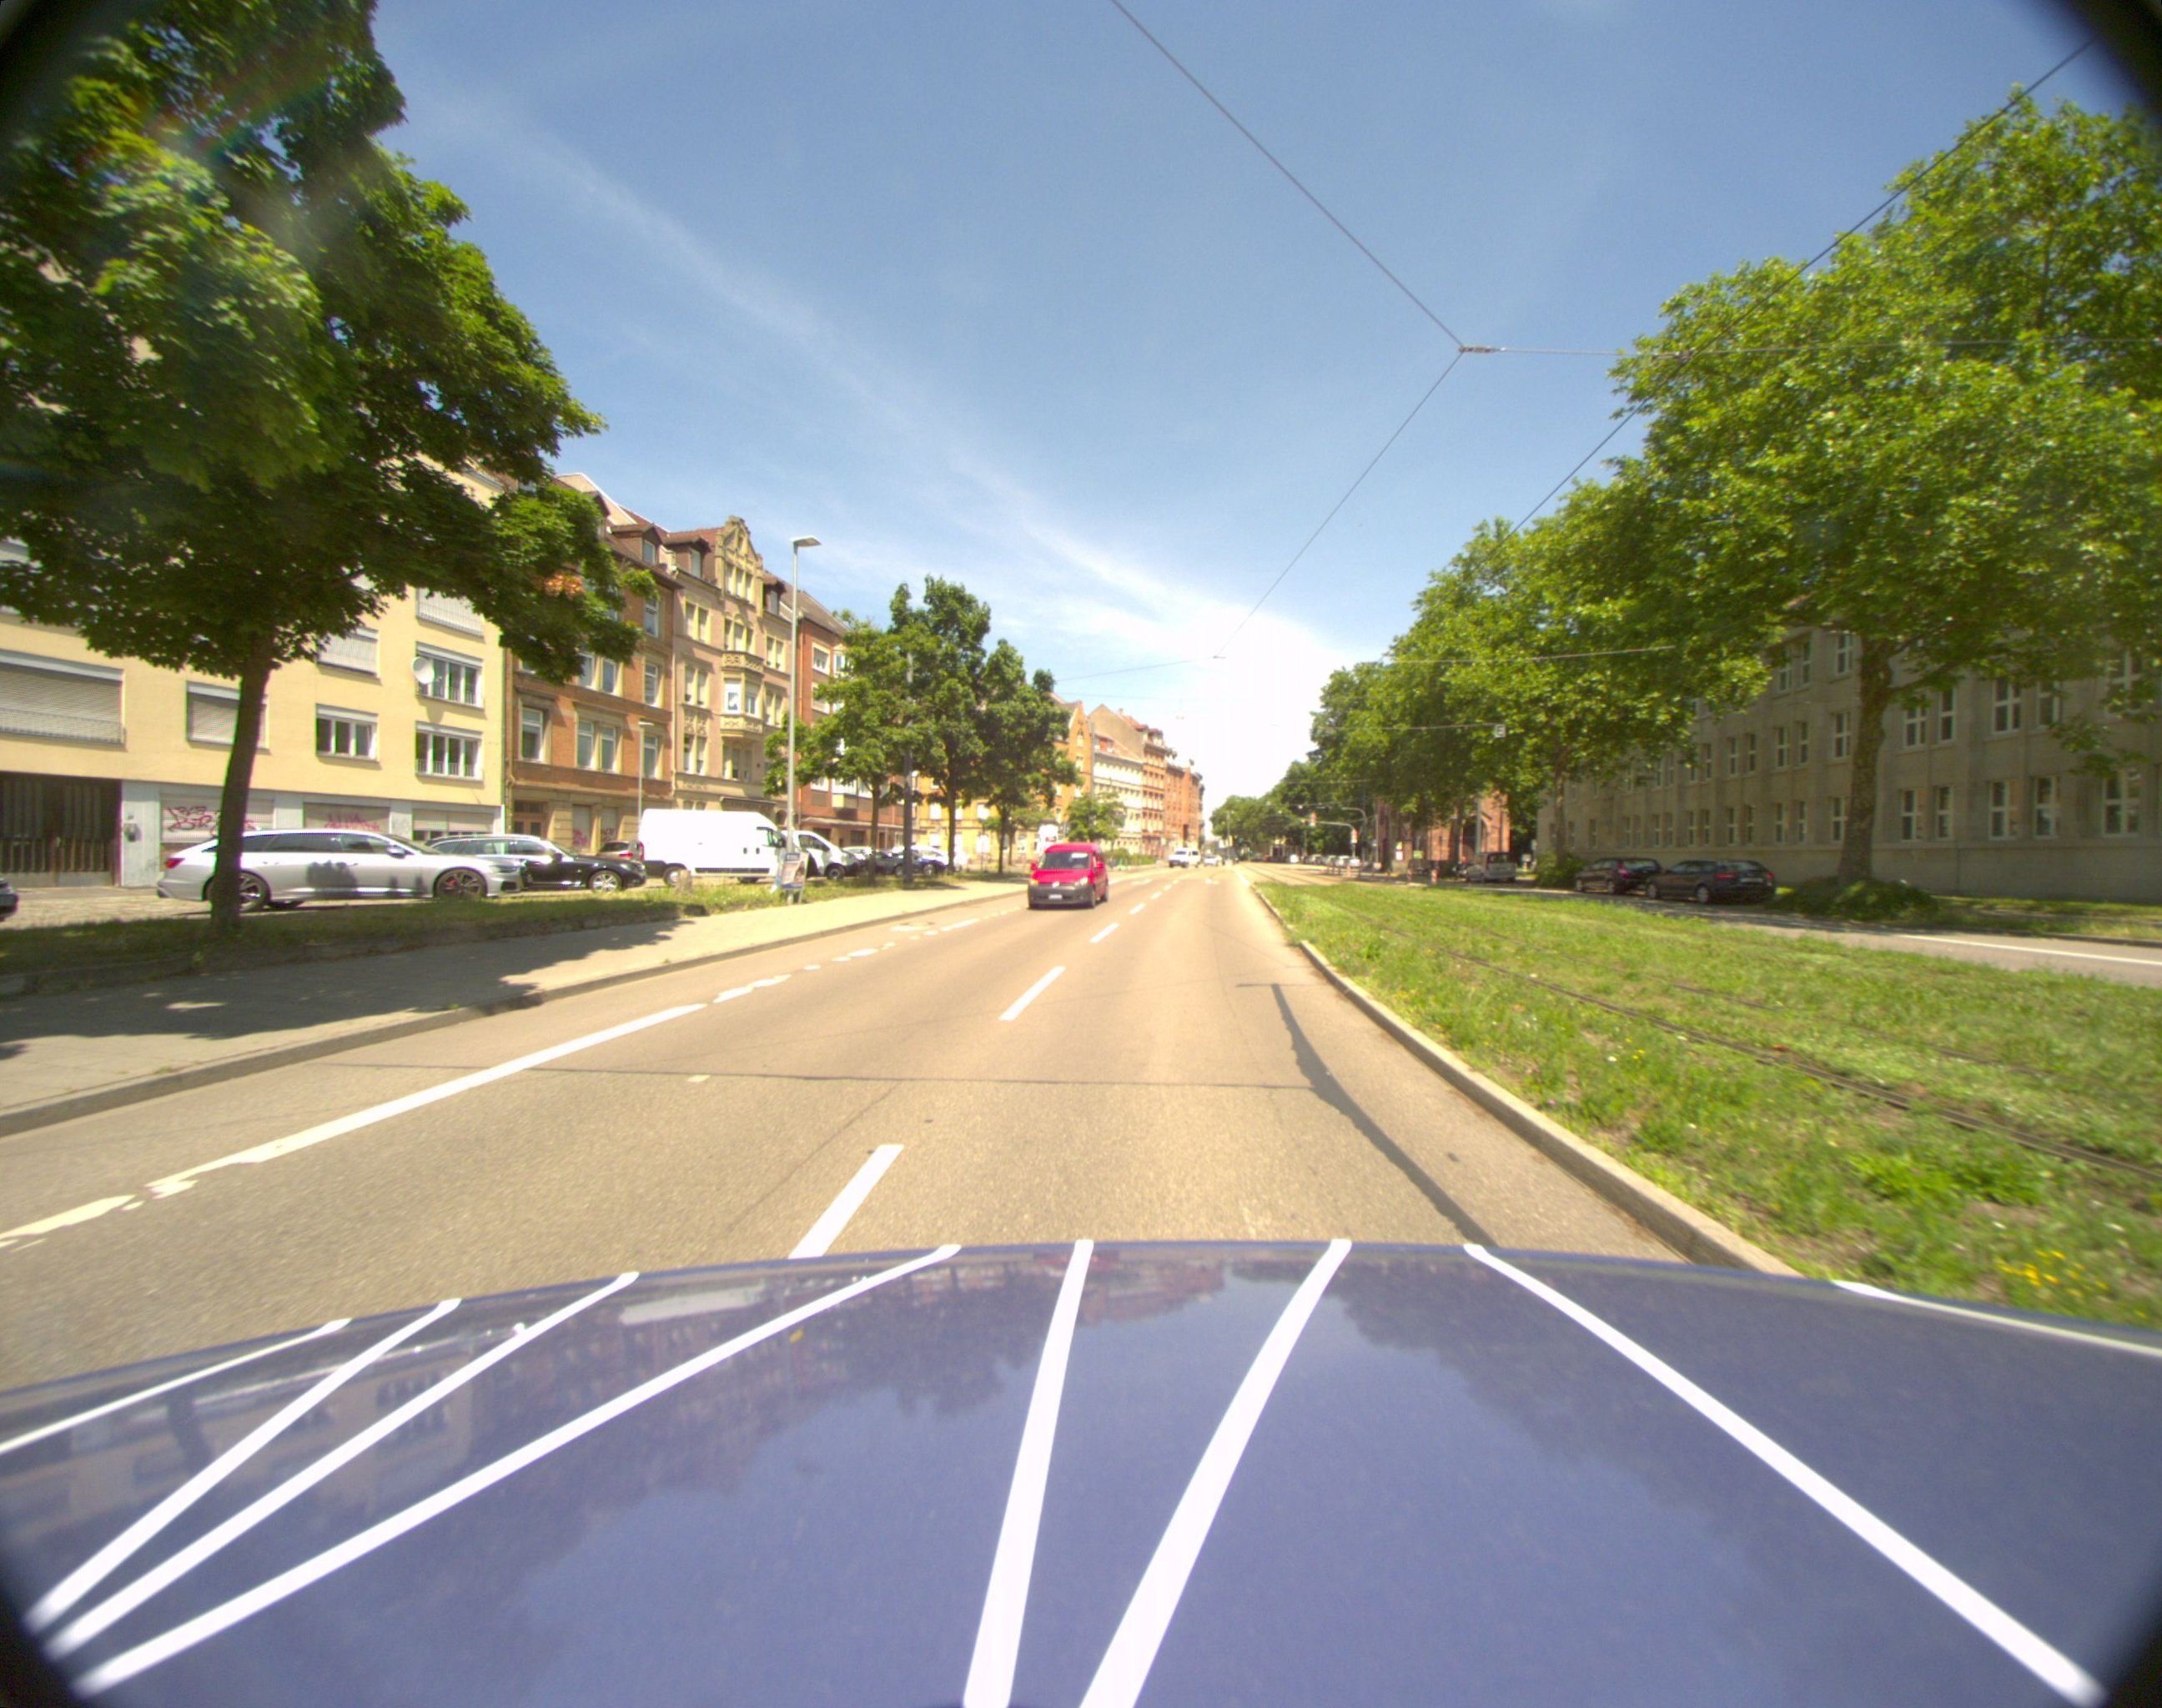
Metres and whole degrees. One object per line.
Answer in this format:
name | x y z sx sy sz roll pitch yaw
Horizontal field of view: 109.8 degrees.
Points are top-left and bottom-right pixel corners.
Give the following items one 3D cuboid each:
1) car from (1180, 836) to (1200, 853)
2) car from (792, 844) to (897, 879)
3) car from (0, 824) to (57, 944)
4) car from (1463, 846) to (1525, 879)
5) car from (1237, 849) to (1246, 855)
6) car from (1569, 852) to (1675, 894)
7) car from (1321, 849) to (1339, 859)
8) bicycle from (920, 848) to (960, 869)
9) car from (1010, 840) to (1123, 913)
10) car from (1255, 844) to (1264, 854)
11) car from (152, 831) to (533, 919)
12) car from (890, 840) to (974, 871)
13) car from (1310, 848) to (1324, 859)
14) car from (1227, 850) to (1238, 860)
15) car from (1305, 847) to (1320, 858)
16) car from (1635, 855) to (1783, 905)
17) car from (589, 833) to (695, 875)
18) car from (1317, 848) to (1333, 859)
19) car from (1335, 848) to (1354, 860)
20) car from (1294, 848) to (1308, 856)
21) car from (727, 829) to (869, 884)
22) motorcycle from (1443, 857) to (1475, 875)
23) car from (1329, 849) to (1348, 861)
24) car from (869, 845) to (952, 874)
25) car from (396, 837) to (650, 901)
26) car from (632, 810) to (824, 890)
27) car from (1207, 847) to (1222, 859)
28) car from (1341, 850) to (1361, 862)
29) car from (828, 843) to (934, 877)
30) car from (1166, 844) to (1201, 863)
car | 15.392 -1.344 107.280 1.996 2.317 5.413 4 2 15
car | -9.916 0.290 32.148 4.001 1.379 1.822 -1 1 -11
car | -14.326 0.366 7.909 4.005 1.392 1.709 -1 1 -26
car | 23.809 0.444 43.957 1.996 1.800 4.304 0 0 12
car | 39.126 -0.495 184.977 1.749 1.387 4.349 -1 0 7
car | 21.051 0.698 29.796 1.765 1.474 4.326 0 0 11
car | 34.926 -0.028 106.580 1.746 1.450 3.756 0 0 9
bicycle | -8.365 0.248 45.282 0.739 1.186 2.365 0 1 42
car | -0.240 0.541 21.522 1.857 1.823 5.171 0 0 14
car | 42.621 -1.240 181.460 1.820 2.284 3.764 0 1 8
car | -13.307 0.311 14.190 4.699 1.419 1.968 -1 1 -26
car | -8.167 0.070 41.688 4.414 1.622 1.998 -1 1 -12
car | 37.885 -0.127 122.079 1.745 1.643 3.909 0 0 11
car | 26.987 0.169 135.471 1.799 1.565 4.003 0 0 9
car | 39.326 -0.252 129.190 1.997 1.707 4.003 0 0 10
car | 19.952 0.766 24.407 1.591 1.415 4.325 0 0 7
car | -18.732 -0.001 32.644 1.822 1.674 4.002 0 0 9
car | 35.849 -0.084 111.629 1.746 1.515 3.756 0 0 9
car | 33.287 -0.014 96.194 1.661 1.450 4.061 0 0 10
car | 41.798 -0.370 144.690 1.976 1.554 4.002 0 0 7
car | -10.685 0.071 28.993 4.852 1.961 2.073 -1 1 -19
motorcycle | 24.212 0.777 48.697 1.874 1.062 0.726 -2 1 -20
car | 34.150 0.129 100.911 1.661 1.450 4.061 0 0 9
car | -8.565 0.261 38.392 4.001 1.391 1.822 -1 1 -11
car | -12.640 0.284 17.642 4.438 1.331 1.968 -1 1 -26
car | -11.671 -0.158 25.437 5.559 2.446 2.233 -1 1 -26
car | 17.380 -0.151 98.735 1.798 1.565 4.003 0 0 12
car | 32.379 0.234 91.267 1.661 1.450 4.224 0 0 10
car | -9.282 0.249 35.429 4.635 1.488 1.963 -1 1 -14
car | 10.810 -0.049 79.742 2.161 1.927 4.863 0 1 28
